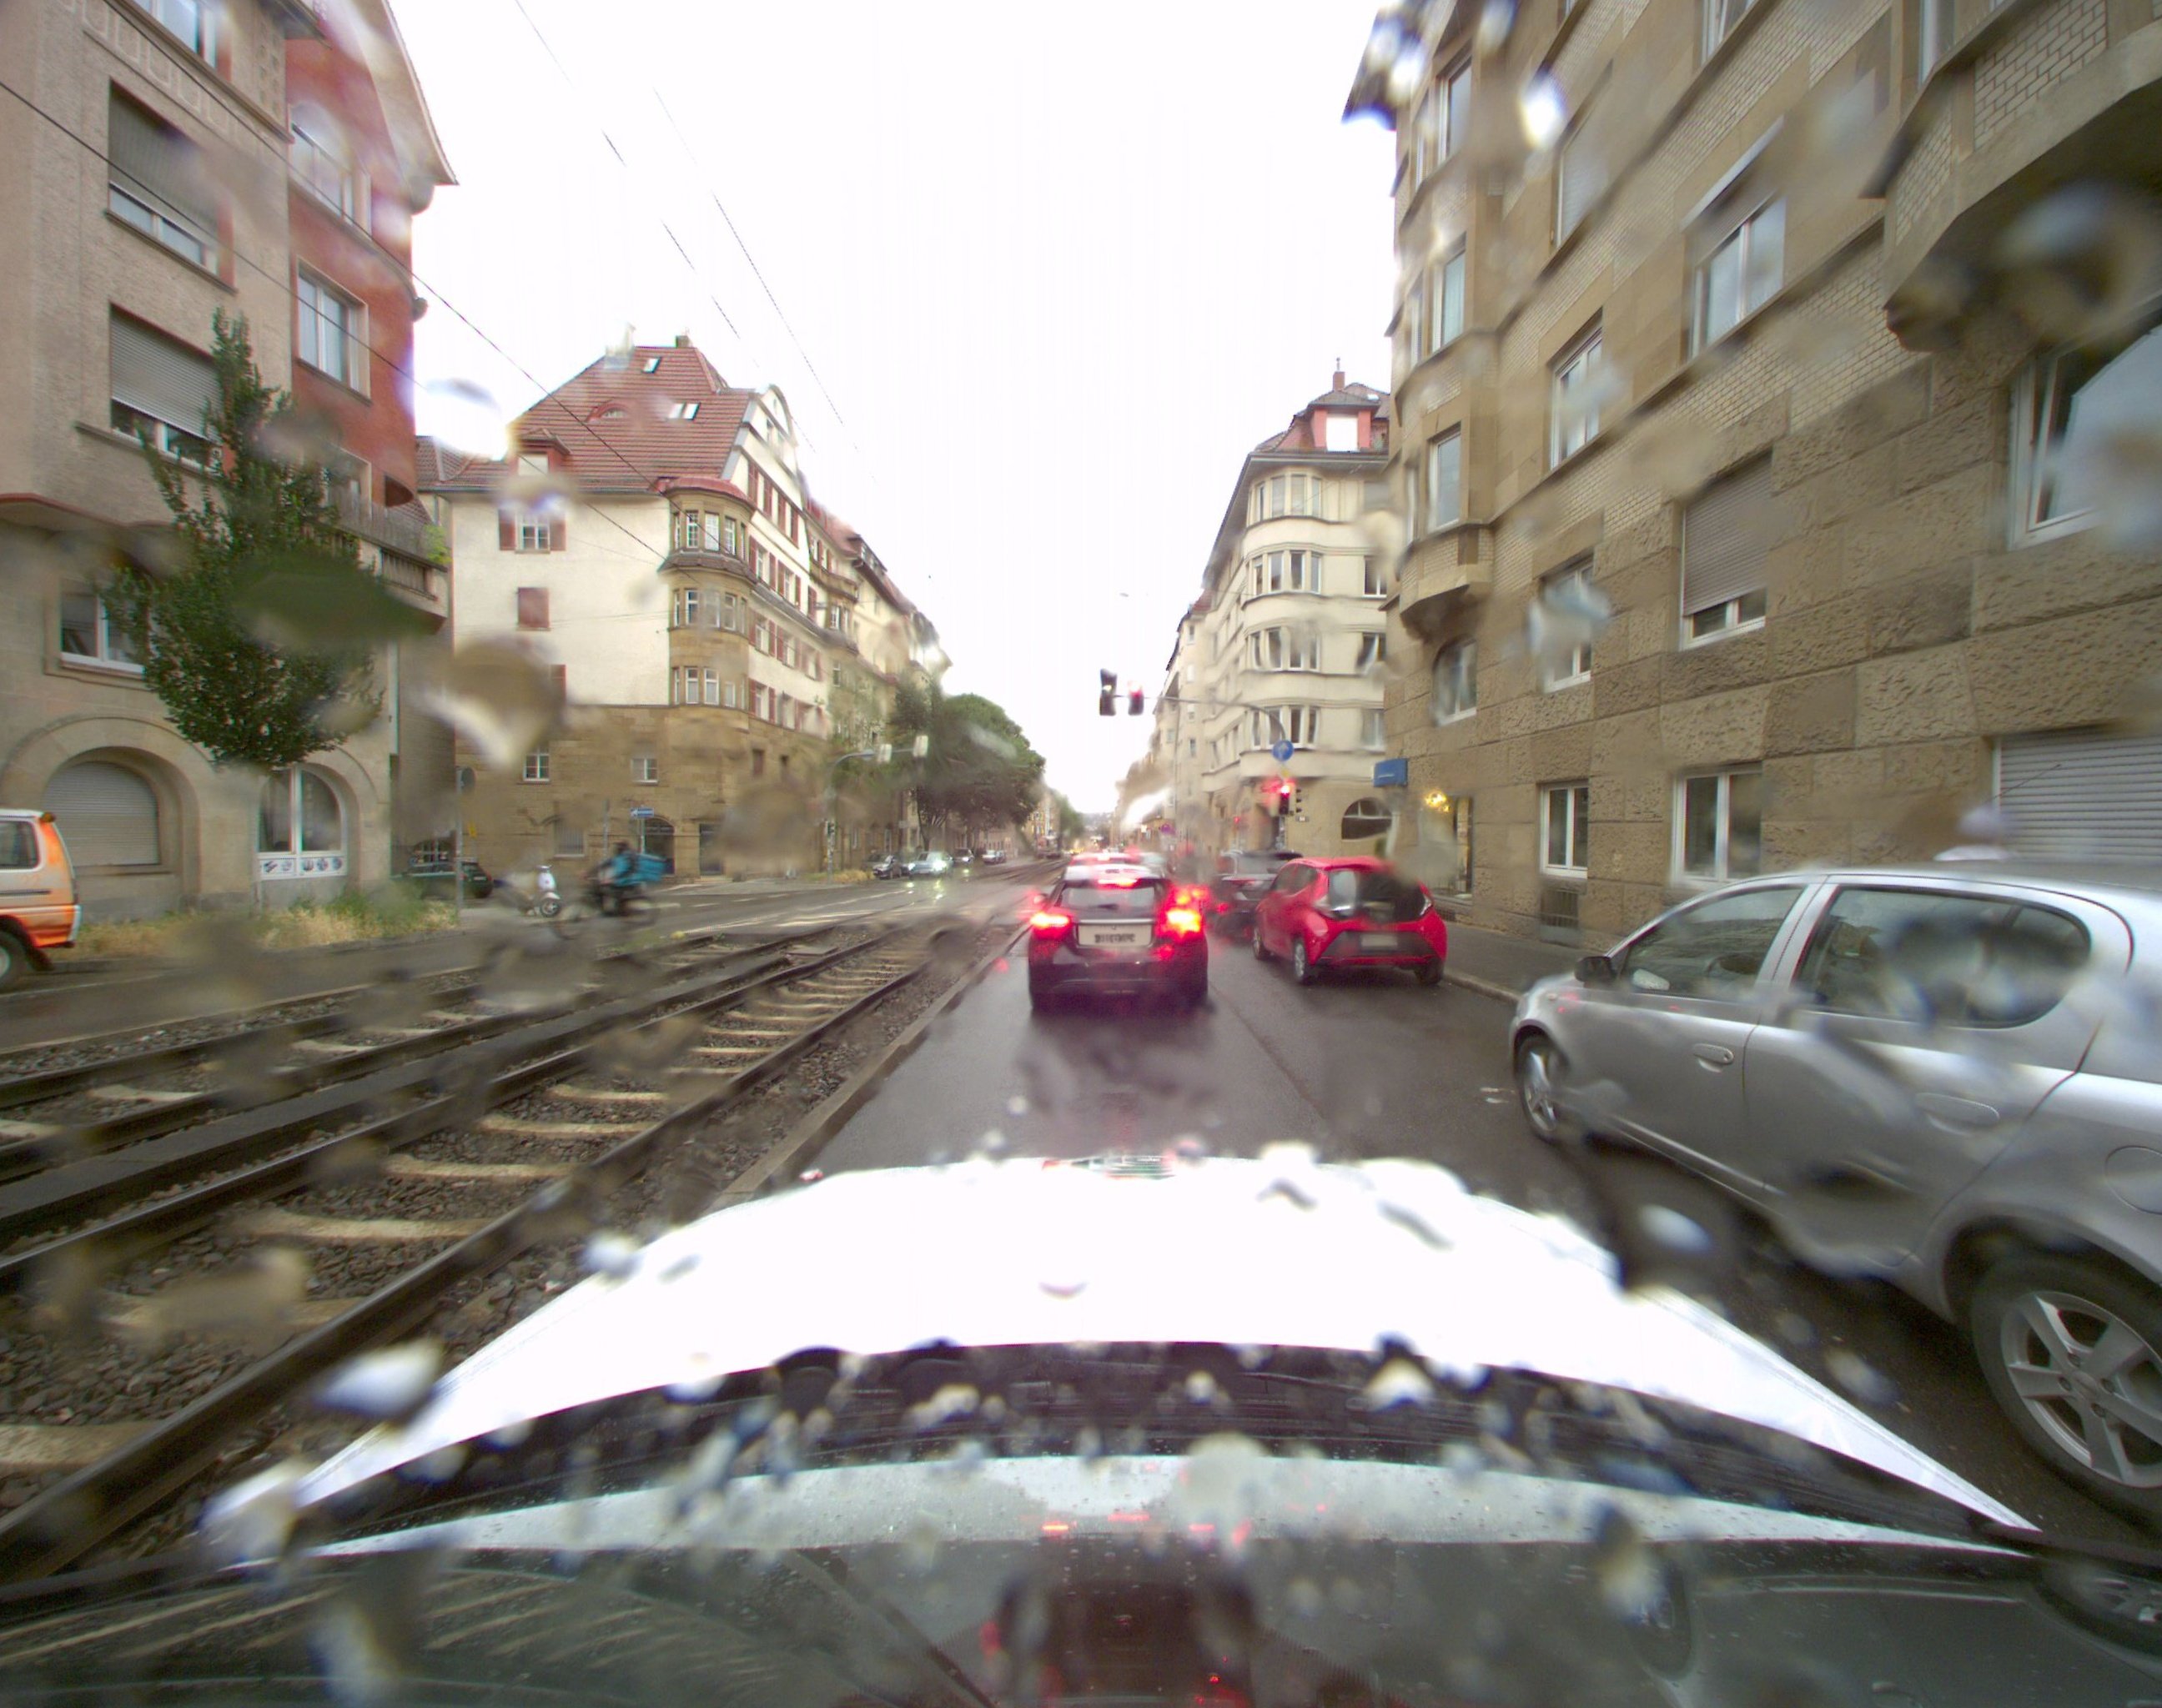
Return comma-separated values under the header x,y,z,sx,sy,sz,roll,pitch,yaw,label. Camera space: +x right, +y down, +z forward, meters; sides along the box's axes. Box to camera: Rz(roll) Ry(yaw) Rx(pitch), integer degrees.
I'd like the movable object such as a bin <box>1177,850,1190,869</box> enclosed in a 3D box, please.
x,y,z,sx,sy,sz,roll,pitch,yaw,label
7.477,0.420,59.565,0.873,1.389,0.984,-1,-1,5,movable object such as a bin

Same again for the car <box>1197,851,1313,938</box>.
x,y,z,sx,sy,sz,roll,pitch,yaw,label
3.247,0.686,15.818,1.539,1.486,3.831,0,0,2,car

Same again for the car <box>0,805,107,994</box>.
x,y,z,sx,sy,sz,roll,pitch,yaw,label
-12.118,0.470,7.218,1.725,1.975,4.341,0,-1,0,car

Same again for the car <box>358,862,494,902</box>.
x,y,z,sx,sy,sz,roll,pitch,yaw,label
-24.380,1.016,30.416,3.633,1.404,1.699,0,-1,-3,car

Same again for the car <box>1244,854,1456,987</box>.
x,y,z,sx,sy,sz,roll,pitch,yaw,label
3.281,0.731,10.574,1.637,1.448,3.298,0,0,-1,car

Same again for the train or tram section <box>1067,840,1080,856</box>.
x,y,z,sx,sy,sz,roll,pitch,yaw,label
-1.807,-1.433,202.450,2.772,3.861,10.433,0,-1,2,train or tram section

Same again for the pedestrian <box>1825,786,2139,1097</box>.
x,y,z,sx,sy,sz,roll,pitch,yaw,label
5.600,0.498,5.160,0.739,1.748,1.111,0,-1,2,pedestrian

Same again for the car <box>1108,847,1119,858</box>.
x,y,z,sx,sy,sz,roll,pitch,yaw,label
5.808,-0.252,146.142,1.986,1.876,4.001,0,-1,2,car

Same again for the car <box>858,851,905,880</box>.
x,y,z,sx,sy,sz,roll,pitch,yaw,label
-11.252,0.643,46.125,1.747,1.552,4.033,0,-1,-2,car

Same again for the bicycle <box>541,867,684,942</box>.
x,y,z,sx,sy,sz,roll,pitch,yaw,label
-8.127,0.835,14.241,0.816,1.186,2.049,-1,-1,28,bicycle

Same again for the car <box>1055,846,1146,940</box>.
x,y,z,sx,sy,sz,roll,pitch,yaw,label
0.397,0.698,15.968,1.559,1.609,3.815,0,-1,2,car

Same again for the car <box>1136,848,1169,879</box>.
x,y,z,sx,sy,sz,roll,pitch,yaw,label
3.704,0.480,42.710,1.539,1.590,3.549,0,0,2,car

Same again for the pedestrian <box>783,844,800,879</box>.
x,y,z,sx,sy,sz,roll,pitch,yaw,label
-14.240,0.366,40.072,0.630,1.672,0.702,0,-1,-4,pedestrian

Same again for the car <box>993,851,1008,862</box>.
x,y,z,sx,sy,sz,roll,pitch,yaw,label
-9.795,0.299,99.021,1.443,1.331,3.271,0,-1,0,car

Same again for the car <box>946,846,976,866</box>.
x,y,z,sx,sy,sz,roll,pitch,yaw,label
-10.594,0.218,72.148,1.868,1.737,3.920,0,-1,2,car

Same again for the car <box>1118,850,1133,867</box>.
x,y,z,sx,sy,sz,roll,pitch,yaw,label
4.028,0.403,73.682,1.289,1.442,2.930,0,0,2,car

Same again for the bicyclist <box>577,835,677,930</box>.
x,y,z,sx,sy,sz,roll,pitch,yaw,label
-8.026,0.481,14.441,0.876,1.597,1.261,-1,-1,27,bicyclist

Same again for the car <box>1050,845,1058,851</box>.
x,y,z,sx,sy,sz,roll,pitch,yaw,label
-5.214,-1.181,158.188,1.372,1.249,3.297,0,-1,0,car

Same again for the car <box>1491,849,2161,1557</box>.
x,y,z,sx,sy,sz,roll,pitch,yaw,label
3.151,0.738,3.108,1.608,1.467,3.314,-2,0,3,car

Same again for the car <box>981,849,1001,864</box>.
x,y,z,sx,sy,sz,roll,pitch,yaw,label
-9.864,0.311,89.605,1.583,1.581,3.920,0,-1,2,car

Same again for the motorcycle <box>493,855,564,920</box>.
x,y,z,sx,sy,sz,roll,pitch,yaw,label
-12.063,0.713,17.774,1.577,1.365,0.628,-1,-1,28,motorcycle

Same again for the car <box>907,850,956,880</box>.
x,y,z,sx,sy,sz,roll,pitch,yaw,label
-8.267,0.583,45.439,1.891,1.588,3.974,0,-1,2,car

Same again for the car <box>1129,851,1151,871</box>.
x,y,z,sx,sy,sz,roll,pitch,yaw,label
4.418,0.527,61.591,1.539,1.486,3.549,0,0,2,car

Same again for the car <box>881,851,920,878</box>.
x,y,z,sx,sy,sz,roll,pitch,yaw,label
-11.283,0.649,51.160,1.713,1.611,3.914,0,-1,-3,car

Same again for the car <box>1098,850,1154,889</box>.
x,y,z,sx,sy,sz,roll,pitch,yaw,label
1.911,0.634,35.597,1.546,1.636,3.670,0,0,-13,car

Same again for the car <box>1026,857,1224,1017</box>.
x,y,z,sx,sy,sz,roll,pitch,yaw,label
0.471,0.779,9.572,1.822,1.458,4.105,0,0,2,car

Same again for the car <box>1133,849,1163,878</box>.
x,y,z,sx,sy,sz,roll,pitch,yaw,label
3.845,0.524,47.184,1.539,1.590,3.549,0,0,2,car
